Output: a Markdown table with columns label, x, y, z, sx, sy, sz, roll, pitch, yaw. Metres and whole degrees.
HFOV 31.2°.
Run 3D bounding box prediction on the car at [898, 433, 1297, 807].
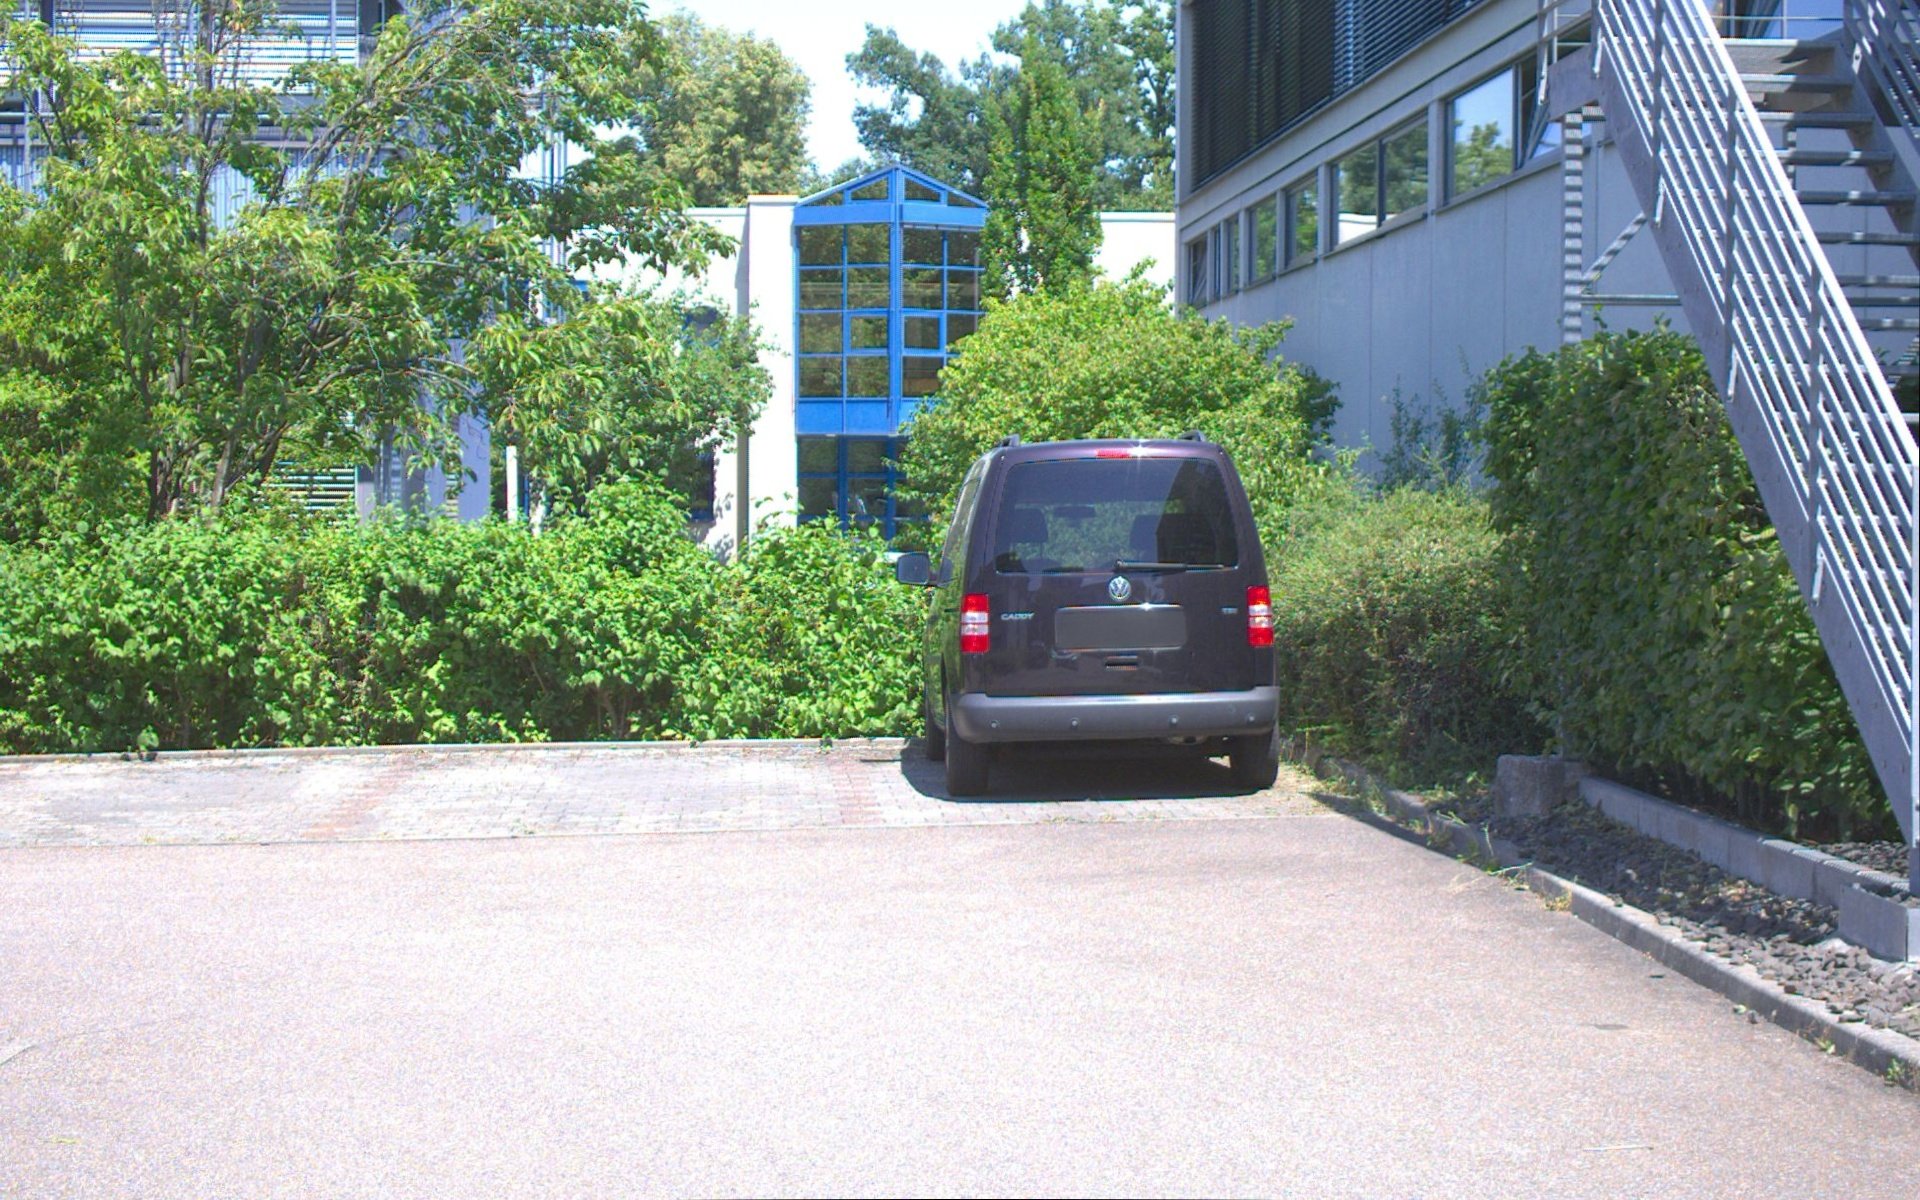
| label | x | y | z | sx | sy | sz | roll | pitch | yaw |
| --- | --- | --- | --- | --- | --- | --- | --- | --- | --- |
| car | 0.654 | 0.041 | 19.134 | 1.743 | 1.830 | 4.001 | -1 | 2 | -4 |
